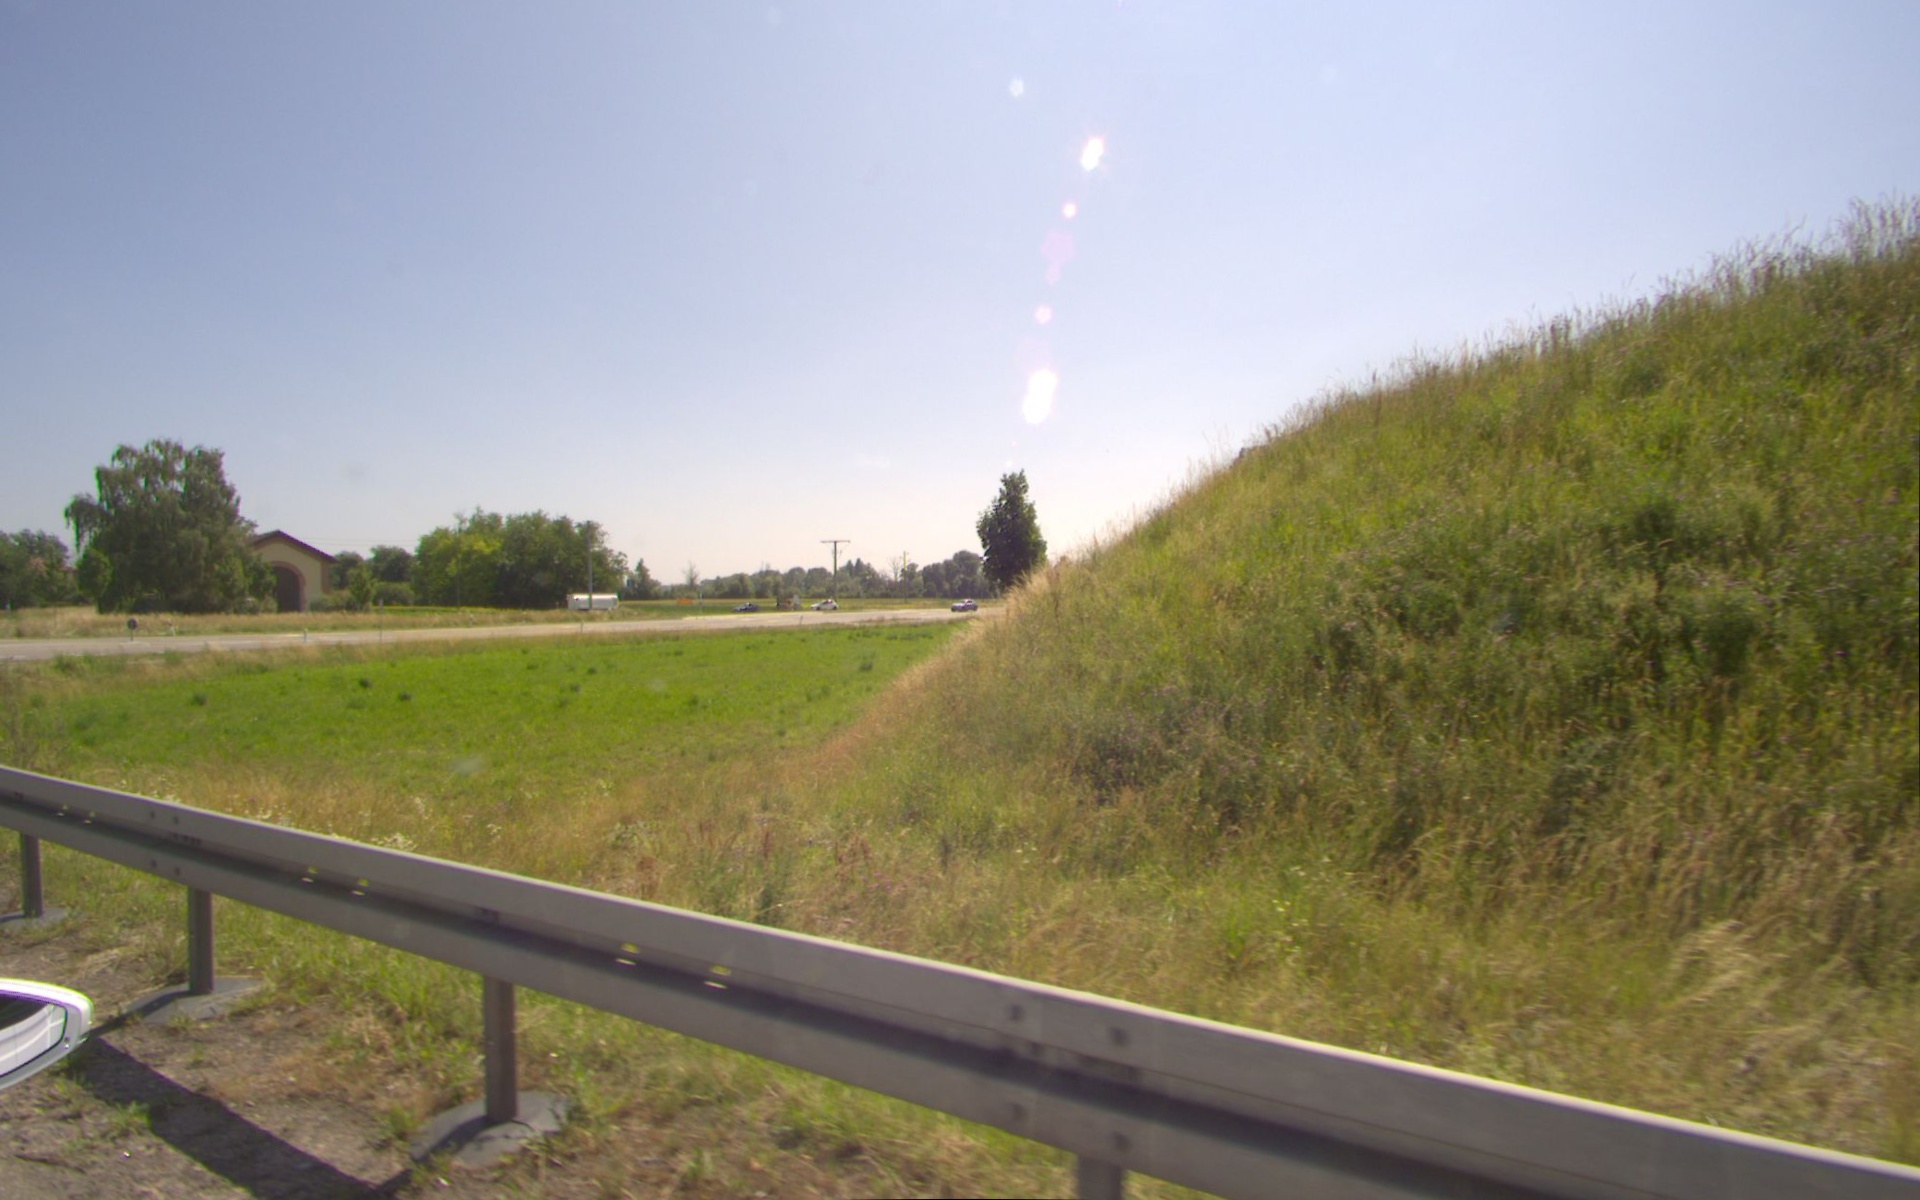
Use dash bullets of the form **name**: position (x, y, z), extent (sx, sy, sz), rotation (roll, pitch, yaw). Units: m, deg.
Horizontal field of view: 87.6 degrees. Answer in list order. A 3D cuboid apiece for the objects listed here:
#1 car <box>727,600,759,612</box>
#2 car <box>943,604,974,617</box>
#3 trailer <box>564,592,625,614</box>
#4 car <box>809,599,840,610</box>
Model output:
- **car**: position (-28.143, 0.774, 129.805), extent (1.659, 1.406, 3.809), rotation (2, 1, 40)
- **car**: position (-0.184, 1.411, 131.535), extent (1.846, 1.565, 4.522), rotation (1, 1, 35)
- **trailer**: position (-42.229, 0.319, 115.846), extent (2.651, 2.489, 6.339), rotation (2, 2, 36)
- **car**: position (-18.893, 0.603, 139.694), extent (3.966, 1.350, 1.693), rotation (1, 1, -17)
